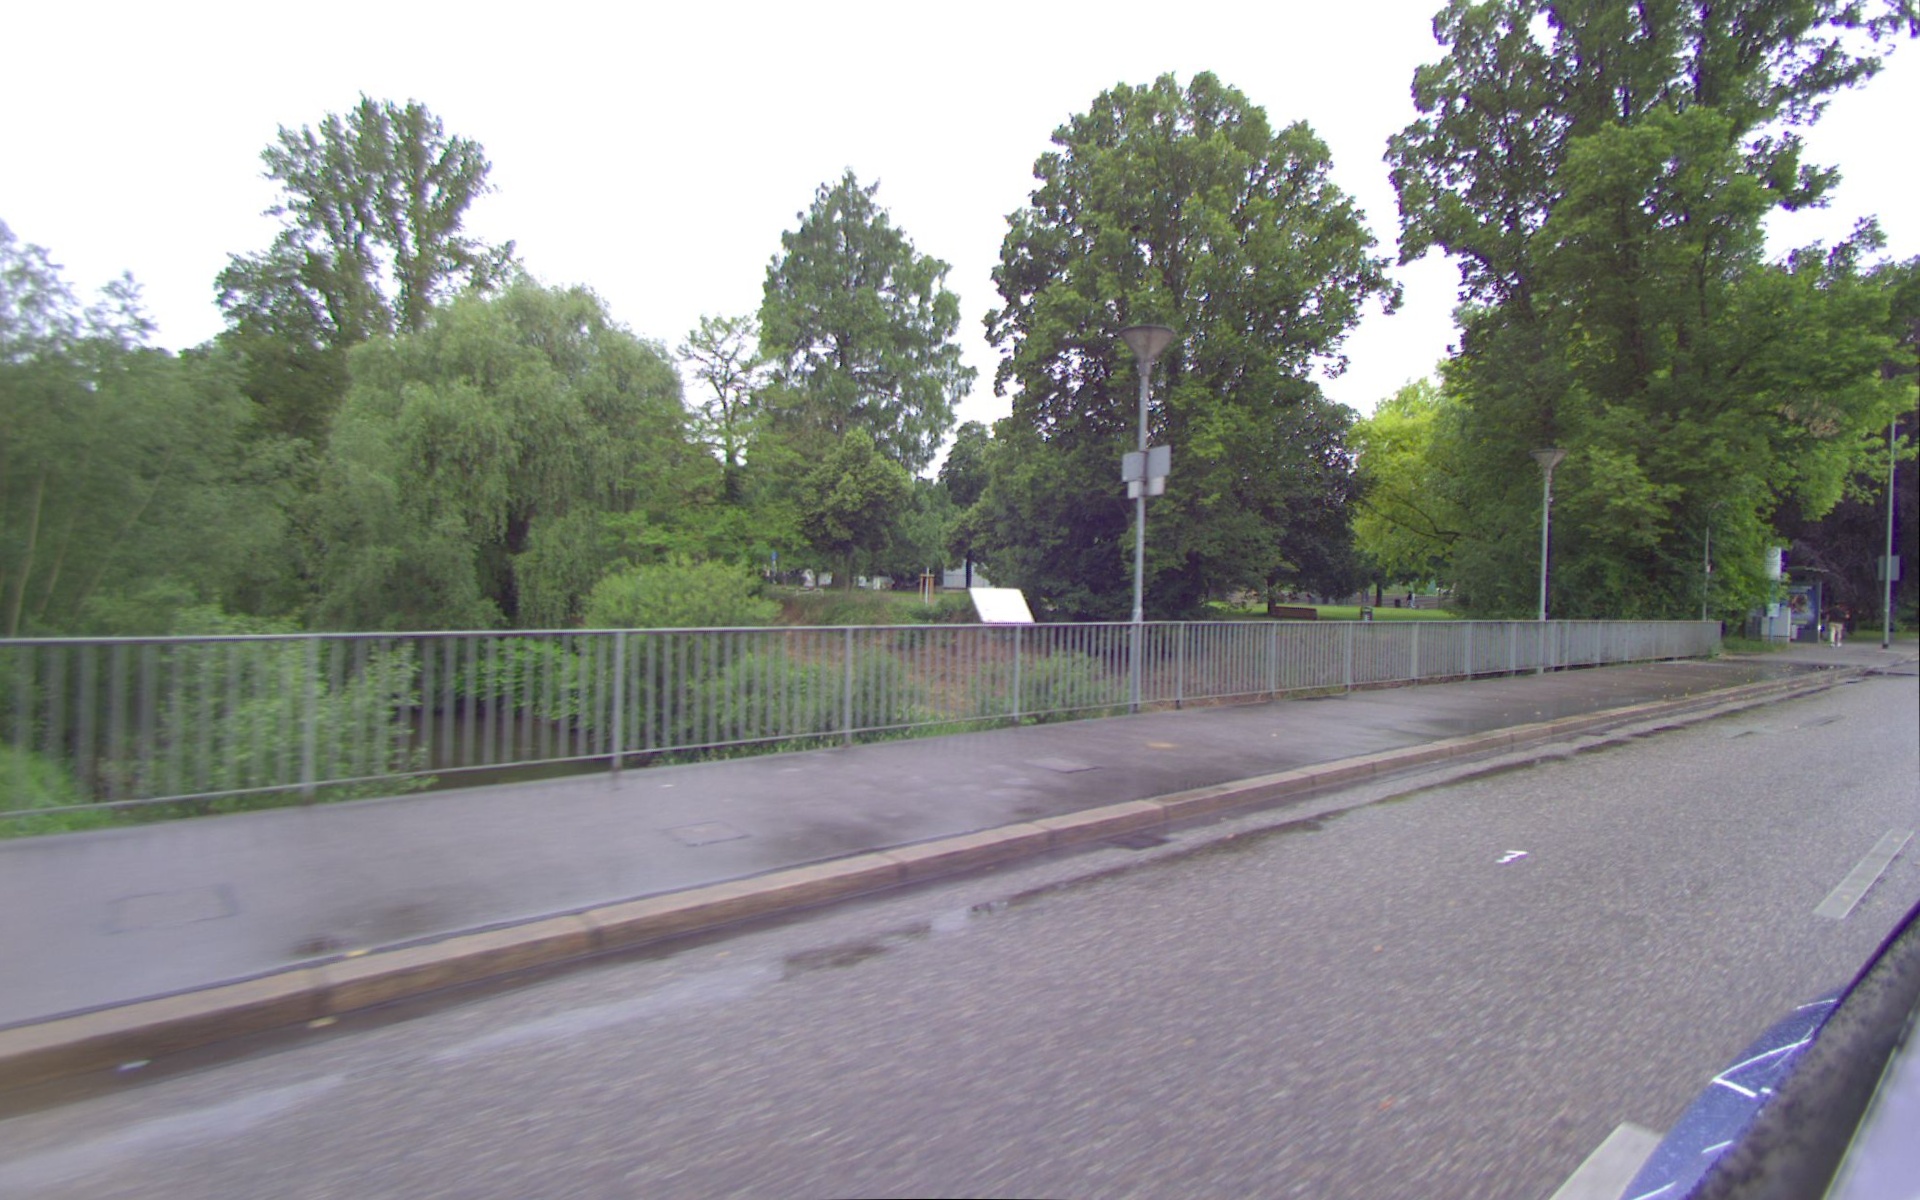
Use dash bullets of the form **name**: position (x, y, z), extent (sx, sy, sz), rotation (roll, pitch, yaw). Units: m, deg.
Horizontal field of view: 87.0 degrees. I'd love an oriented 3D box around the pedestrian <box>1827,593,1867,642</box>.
- **pedestrian**: position (32.110, 0.627, 36.643), extent (1.147, 1.696, 0.849), rotation (0, 3, -41)
